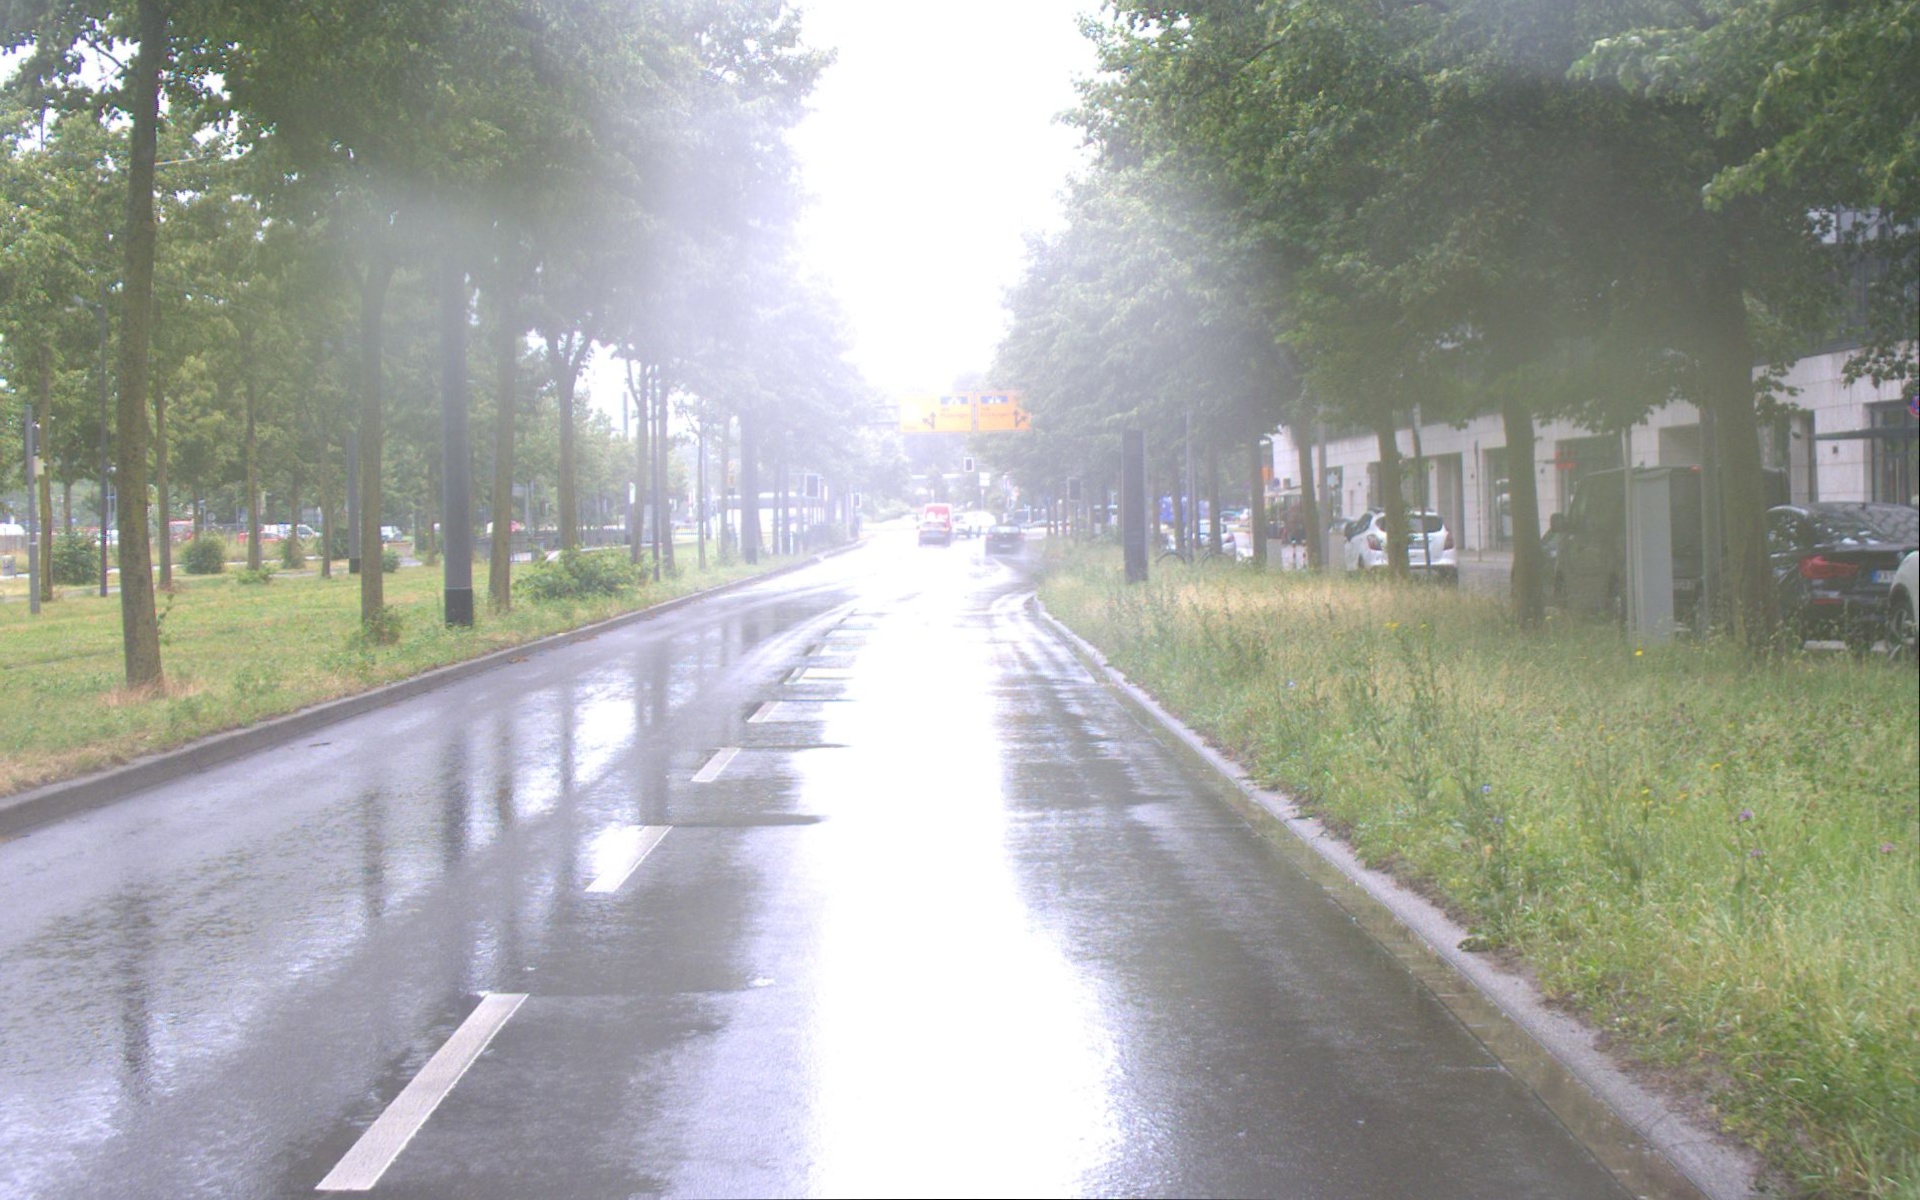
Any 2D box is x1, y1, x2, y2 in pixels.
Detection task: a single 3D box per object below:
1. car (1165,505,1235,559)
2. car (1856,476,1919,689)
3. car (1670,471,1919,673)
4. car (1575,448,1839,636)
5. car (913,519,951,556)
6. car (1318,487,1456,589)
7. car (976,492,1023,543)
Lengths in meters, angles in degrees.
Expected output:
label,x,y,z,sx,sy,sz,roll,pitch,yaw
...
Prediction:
label,x,y,z,sx,sy,sz,roll,pitch,yaw
car,7.711,-2.209,110.816,1.881,1.500,4.725,-1,4,0
car,8.749,-0.099,27.357,1.993,1.663,4.725,-1,4,0
car,8.411,-0.346,33.388,1.993,1.663,4.959,-1,4,0
car,8.671,-0.748,40.355,1.993,1.945,5.030,-1,4,0
car,-1.623,-3.680,201.598,1.993,2.006,4.001,-1,4,2
car,7.992,-1.199,64.710,1.993,1.663,4.725,-1,4,0
car,1.663,-3.515,146.144,1.940,2.006,4.001,-1,4,0
